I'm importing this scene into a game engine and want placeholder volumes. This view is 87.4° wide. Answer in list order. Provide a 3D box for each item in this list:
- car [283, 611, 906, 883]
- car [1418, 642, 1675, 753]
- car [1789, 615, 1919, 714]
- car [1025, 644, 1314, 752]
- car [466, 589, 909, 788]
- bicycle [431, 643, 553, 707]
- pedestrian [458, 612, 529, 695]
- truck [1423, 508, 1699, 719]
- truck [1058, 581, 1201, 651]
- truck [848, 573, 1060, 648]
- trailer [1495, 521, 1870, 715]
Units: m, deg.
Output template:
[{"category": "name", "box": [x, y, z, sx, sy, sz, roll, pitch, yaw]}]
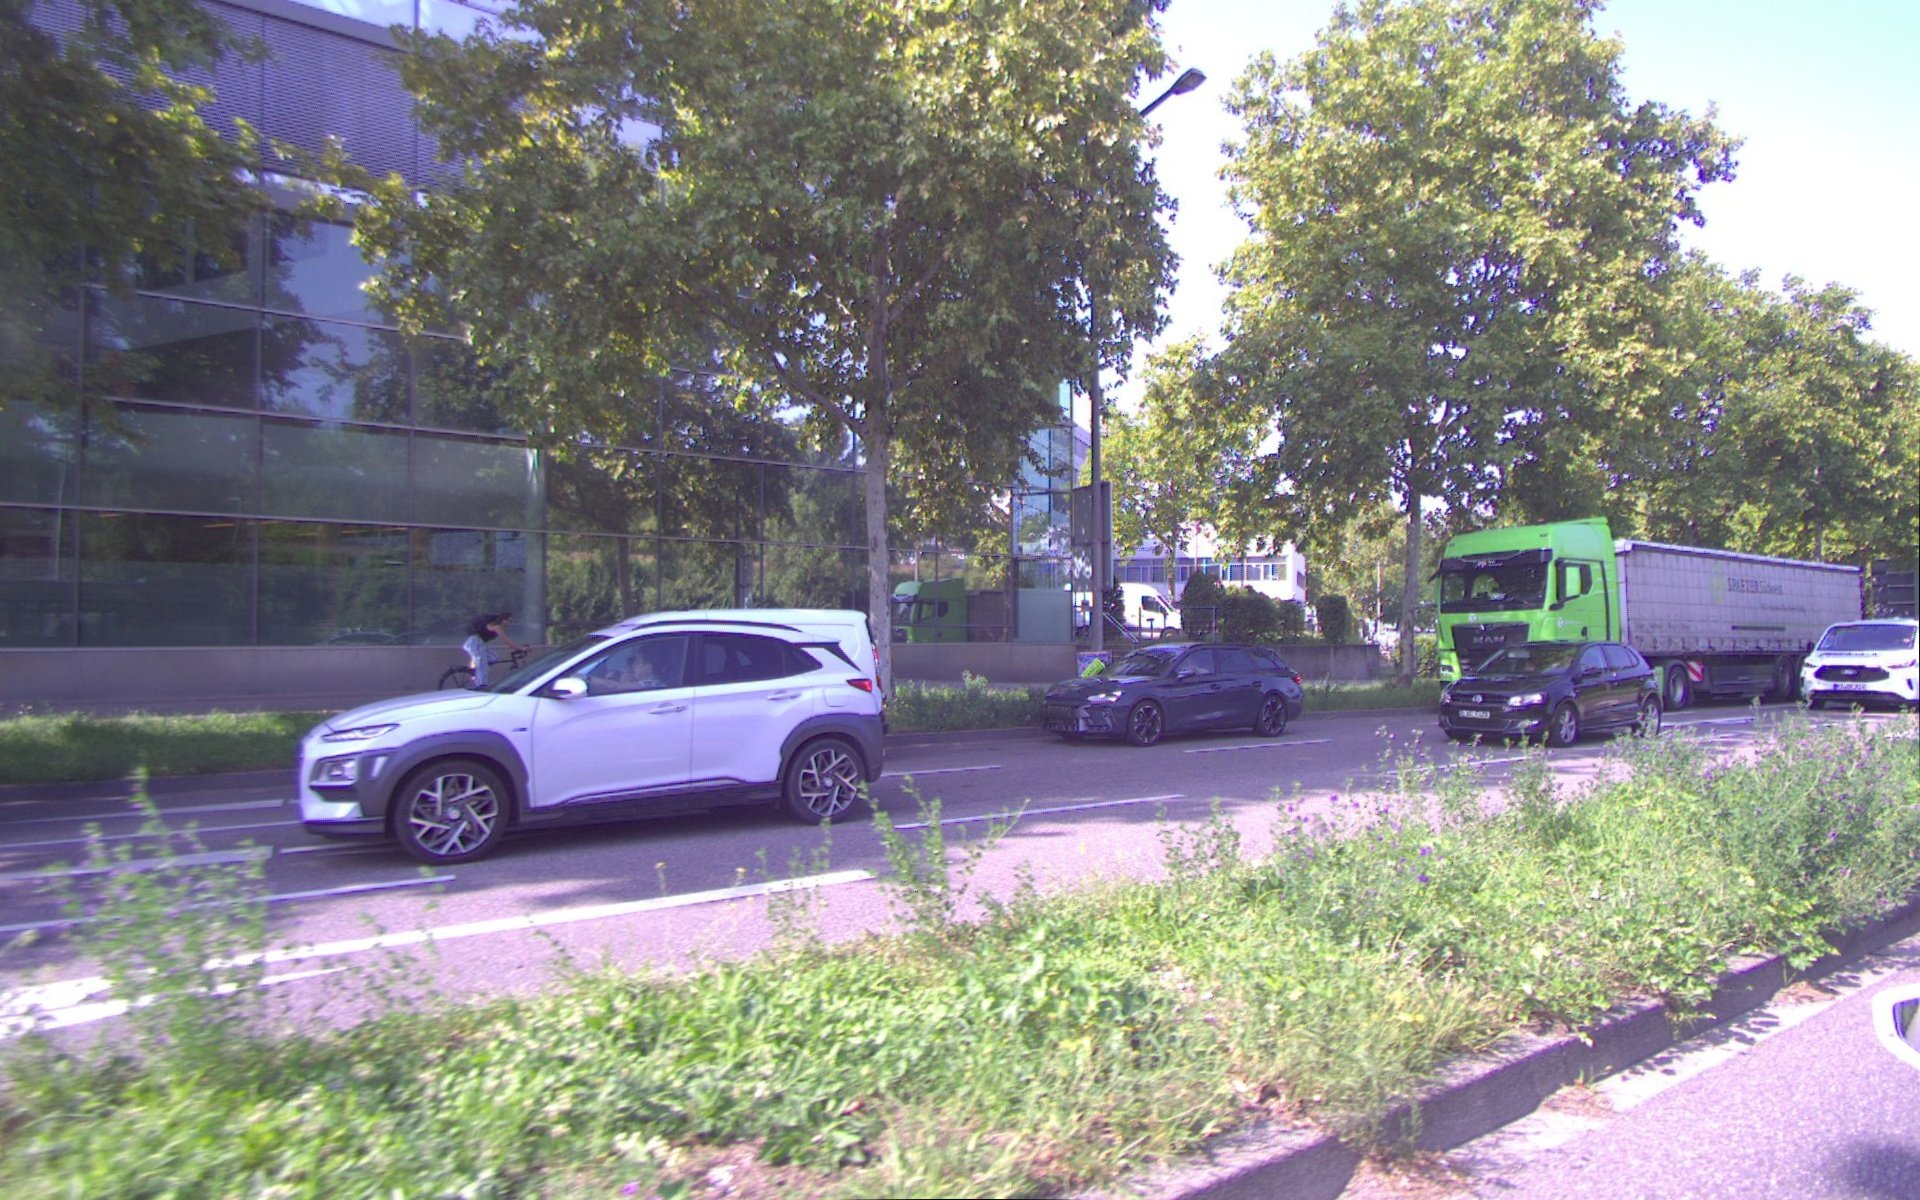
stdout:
[{"category": "car", "box": [-2.589, 0.947, 7.593, 4.095, 1.548, 1.686, 2, -4, -33]}, {"category": "car", "box": [8.604, 1.360, 14.674, 3.814, 1.417, 1.606, 2, -4, -31]}, {"category": "car", "box": [20.579, 1.370, 22.299, 4.982, 1.979, 1.982, 2, -2, -33]}, {"category": "car", "box": [3.246, 1.408, 15.246, 4.432, 1.429, 1.638, 2, -4, -33]}, {"category": "car", "box": [-3.037, 0.965, 11.673, 4.696, 1.912, 1.695, 2, -4, -32]}, {"category": "bicycle", "box": [-7.891, 1.246, 16.970, 1.812, 1.021, 0.500, 2, -2, -33]}, {"category": "pedestrian", "box": [-7.883, 0.900, 16.976, 1.021, 1.367, 0.495, 2, -2, -33]}, {"category": "truck", "box": [12.710, 0.395, 21.147, 5.827, 3.869, 2.594, 2, -4, -33]}, {"category": "truck", "box": [7.371, 0.702, 43.587, 5.789, 2.898, 2.239, 0, -1, 20]}, {"category": "truck", "box": [-0.103, 0.529, 41.921, 9.018, 2.898, 1.985, 2, -2, -30]}, {"category": "trailer", "box": [18.295, 0.619, 24.796, 13.662, 3.871, 2.619, 2, -4, -33]}]
